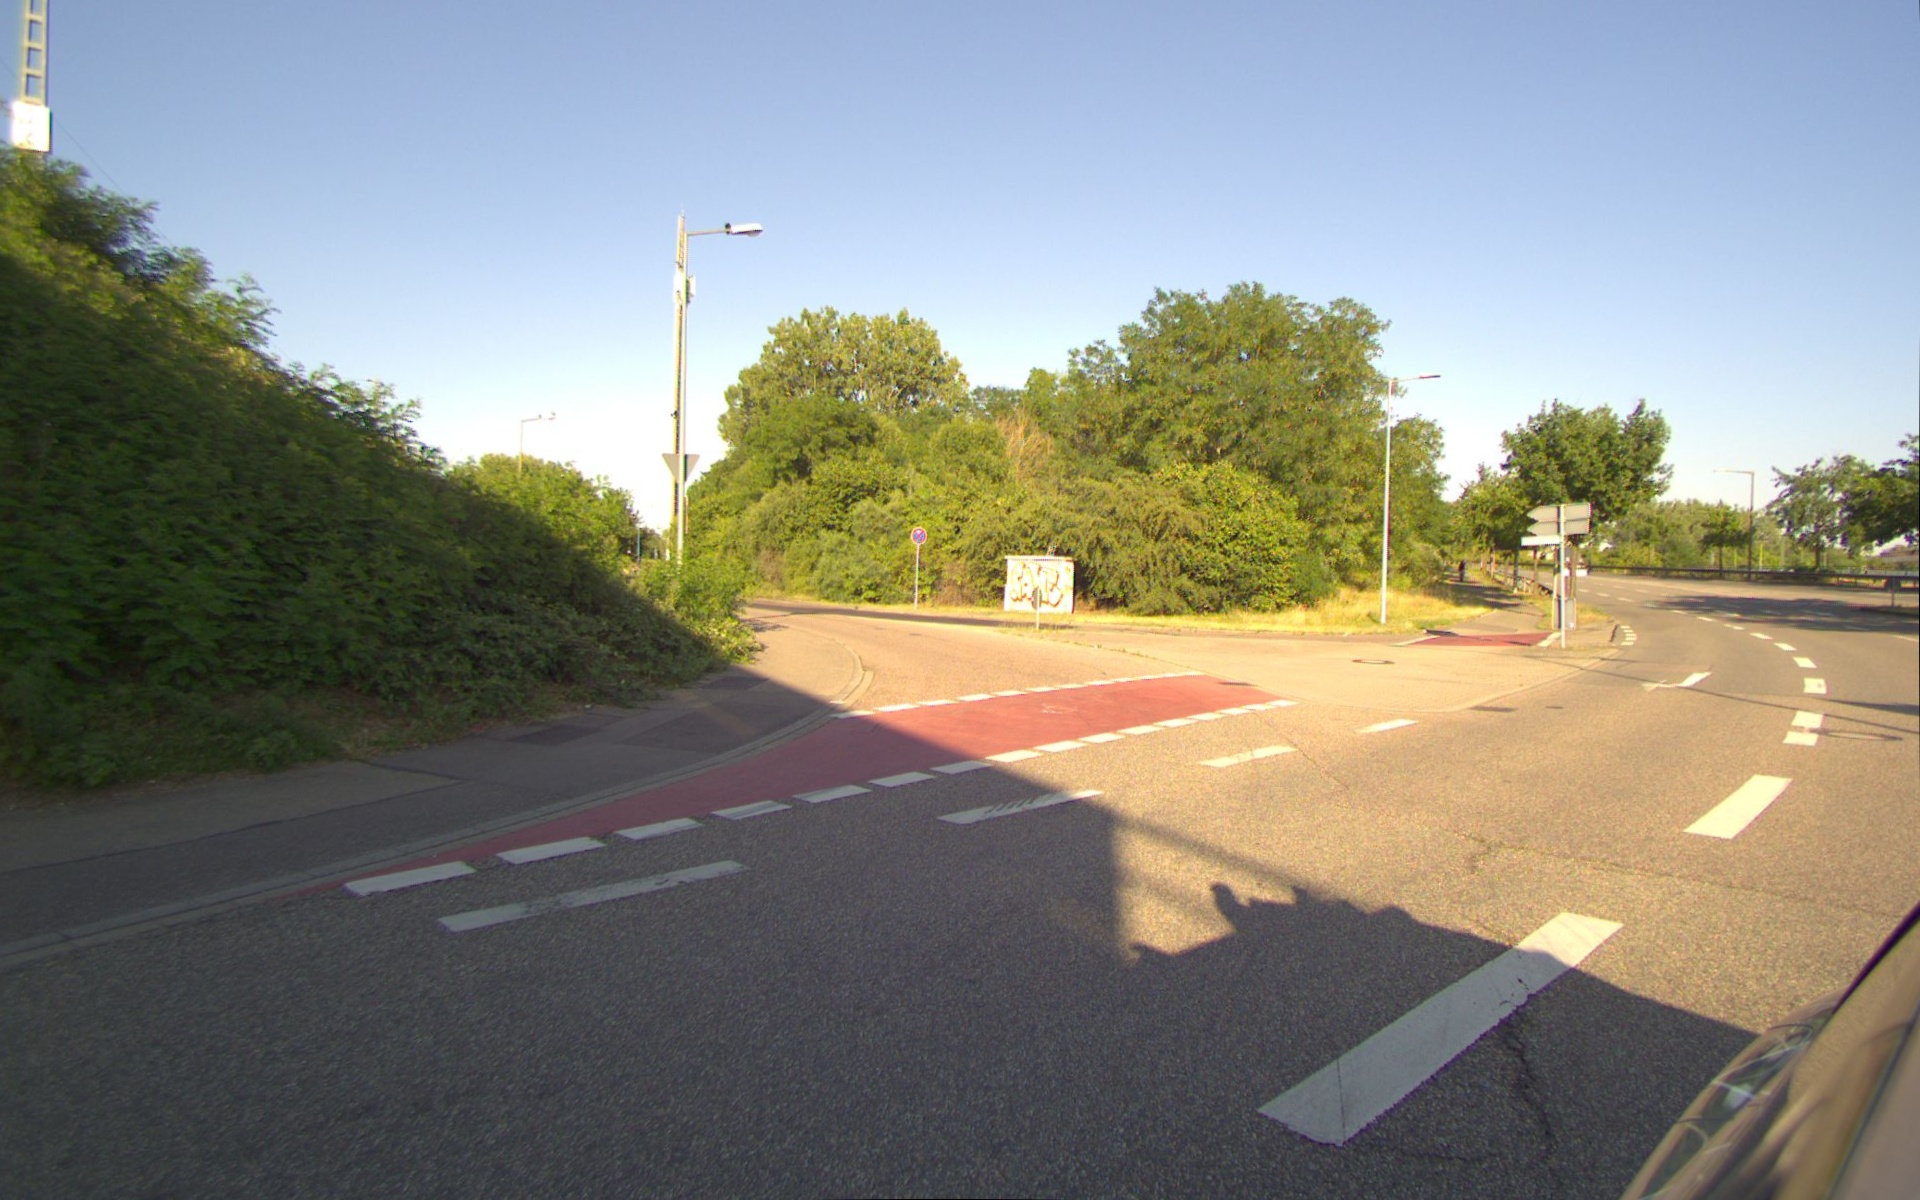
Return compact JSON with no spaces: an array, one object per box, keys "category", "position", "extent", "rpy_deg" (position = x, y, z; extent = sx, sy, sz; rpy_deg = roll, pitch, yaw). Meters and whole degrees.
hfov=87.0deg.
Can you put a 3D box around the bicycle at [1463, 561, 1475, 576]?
[{"category":"bicycle","position":[38.515,-2.358,76.626],"extent":[0.775,1.070,2.473],"rpy_deg":[0,0,27]}]

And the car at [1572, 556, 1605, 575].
[{"category":"car","position":[63.592,-3.437,102.457],"extent":[1.974,1.794,3.976],"rpy_deg":[0,0,19]}]

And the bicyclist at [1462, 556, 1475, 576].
[{"category":"bicyclist","position":[38.525,-2.564,76.658],"extent":[0.836,1.439,1.103],"rpy_deg":[0,0,28]}]
